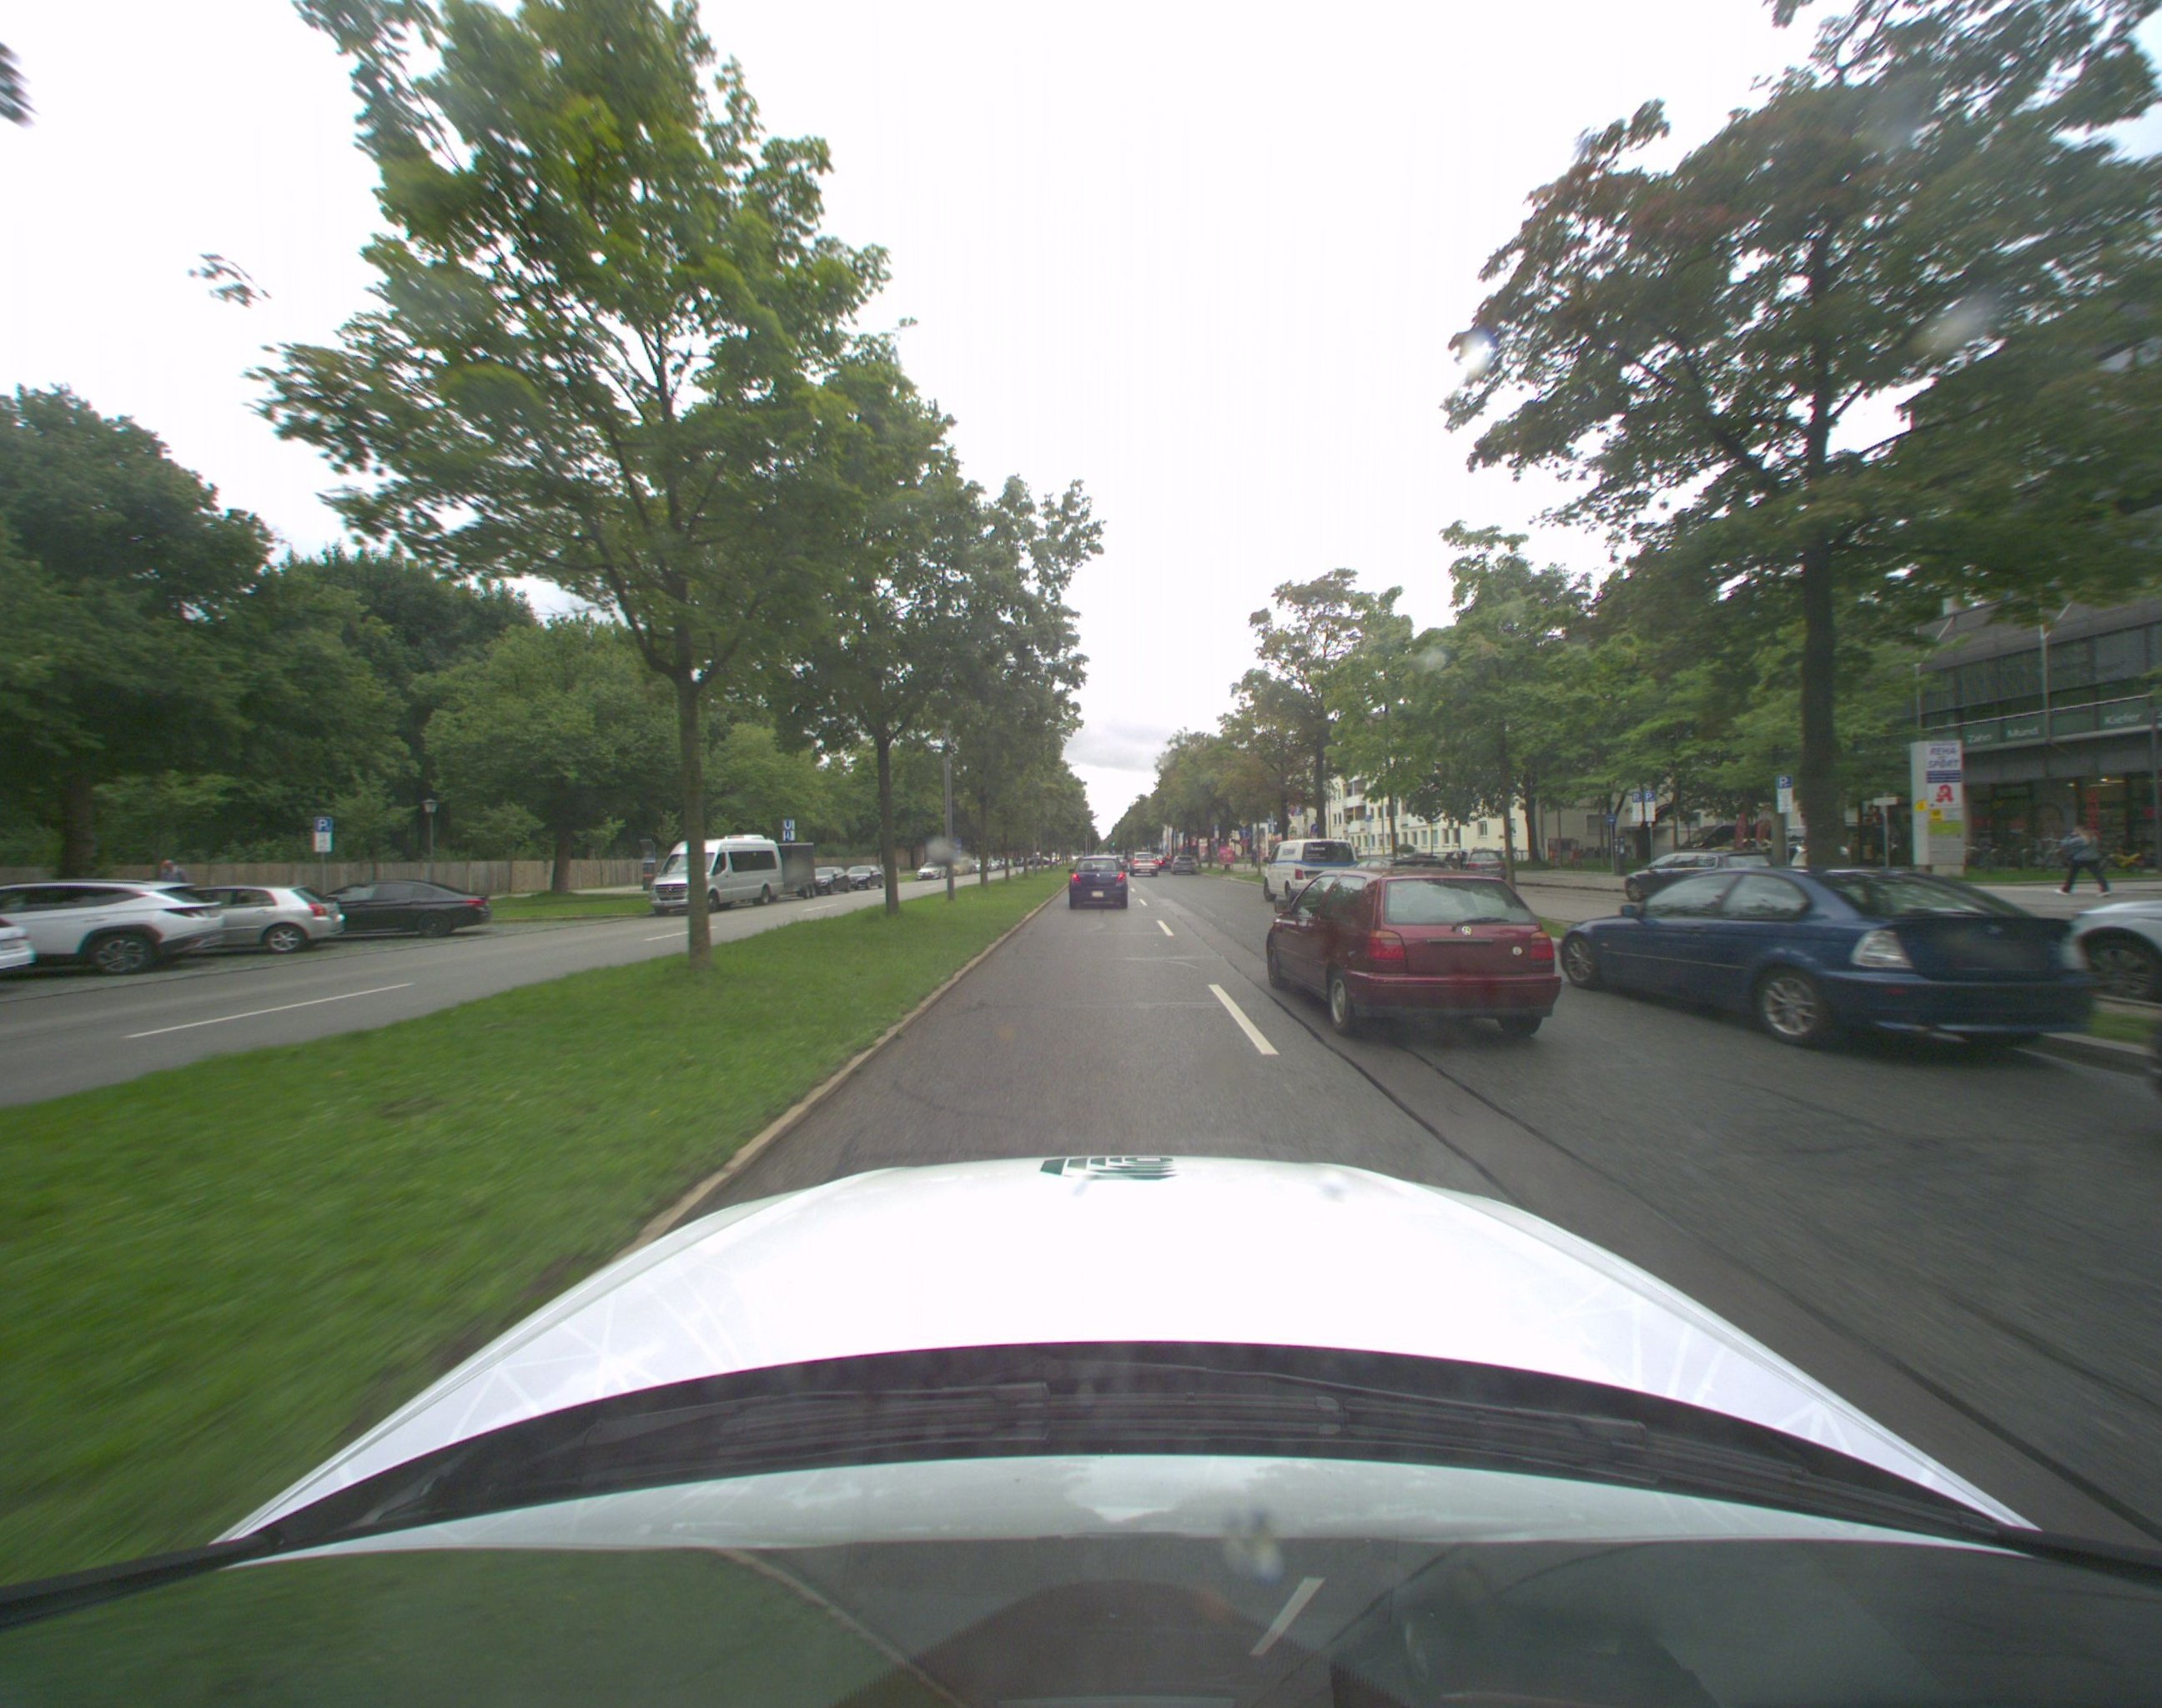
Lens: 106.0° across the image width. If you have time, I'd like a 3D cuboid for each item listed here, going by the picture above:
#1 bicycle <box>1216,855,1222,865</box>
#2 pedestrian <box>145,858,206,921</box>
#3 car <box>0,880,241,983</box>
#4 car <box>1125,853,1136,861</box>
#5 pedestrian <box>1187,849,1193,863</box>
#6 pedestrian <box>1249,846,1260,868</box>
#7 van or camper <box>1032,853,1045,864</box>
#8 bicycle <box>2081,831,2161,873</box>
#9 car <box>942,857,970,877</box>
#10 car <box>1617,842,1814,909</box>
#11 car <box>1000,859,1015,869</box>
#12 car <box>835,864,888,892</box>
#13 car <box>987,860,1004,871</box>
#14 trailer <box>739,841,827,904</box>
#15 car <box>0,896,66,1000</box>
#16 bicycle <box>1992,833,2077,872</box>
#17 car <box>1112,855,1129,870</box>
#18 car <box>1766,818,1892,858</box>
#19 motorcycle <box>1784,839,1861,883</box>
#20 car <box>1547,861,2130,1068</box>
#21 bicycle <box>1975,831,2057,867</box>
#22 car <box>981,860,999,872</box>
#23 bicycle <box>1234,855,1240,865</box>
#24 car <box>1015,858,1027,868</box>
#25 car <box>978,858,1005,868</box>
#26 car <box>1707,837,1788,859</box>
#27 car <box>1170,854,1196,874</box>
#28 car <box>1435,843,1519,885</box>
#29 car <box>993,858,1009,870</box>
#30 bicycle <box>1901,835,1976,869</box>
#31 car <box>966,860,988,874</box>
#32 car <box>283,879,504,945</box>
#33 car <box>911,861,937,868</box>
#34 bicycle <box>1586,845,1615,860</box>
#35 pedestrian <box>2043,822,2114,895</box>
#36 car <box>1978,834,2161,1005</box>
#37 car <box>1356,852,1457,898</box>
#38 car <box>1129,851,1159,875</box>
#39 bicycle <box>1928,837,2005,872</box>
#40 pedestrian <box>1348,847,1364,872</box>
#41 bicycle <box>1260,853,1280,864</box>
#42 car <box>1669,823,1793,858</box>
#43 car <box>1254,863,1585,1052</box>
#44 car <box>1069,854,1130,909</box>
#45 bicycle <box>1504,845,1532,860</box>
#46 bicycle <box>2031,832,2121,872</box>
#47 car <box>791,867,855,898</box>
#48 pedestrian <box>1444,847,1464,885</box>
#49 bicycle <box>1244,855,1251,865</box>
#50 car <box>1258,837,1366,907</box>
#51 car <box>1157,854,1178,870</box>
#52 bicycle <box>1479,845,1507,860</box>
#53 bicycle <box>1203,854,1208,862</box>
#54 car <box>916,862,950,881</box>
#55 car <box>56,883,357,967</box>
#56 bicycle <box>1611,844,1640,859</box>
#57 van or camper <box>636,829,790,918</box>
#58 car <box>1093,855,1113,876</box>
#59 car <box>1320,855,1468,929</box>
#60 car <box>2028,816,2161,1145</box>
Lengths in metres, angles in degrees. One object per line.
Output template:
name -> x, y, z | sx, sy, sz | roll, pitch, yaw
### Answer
bicycle -> 15.771, 0.683, 93.042 | 0.429, 1.133, 1.885 | -2, 0, 3
pedestrian -> -26.341, 1.027, 23.703 | 0.766, 1.767, 0.873 | -2, -1, -2
car -> -17.860, 1.316, 14.310 | 4.016, 1.623, 1.782 | 0, -1, -35
car -> 10.174, 0.581, 167.072 | 1.859, 1.682, 4.223 | -2, 0, 0
pedestrian -> 14.999, 0.223, 112.160 | 0.586, 1.890, 0.902 | -2, -1, 0
pedestrian -> 13.781, 0.266, 64.729 | 0.643, 1.730, 0.595 | 0, -1, -29
van or camper -> -9.486, 1.036, 182.466 | 2.108, 2.482, 7.453 | 0, -1, 2
bicycle -> 29.753, -0.062, 23.138 | 2.067, 1.120, 0.455 | -1, 0, 1
car -> -12.324, 1.253, 80.633 | 1.807, 1.783, 4.820 | -3, 0, 2
car -> 16.568, 0.505, 21.633 | 1.814, 1.531, 4.606 | -2, 0, 3
car -> -11.121, 1.539, 123.755 | 1.541, 1.409, 3.883 | -3, 0, 4
car -> -13.011, 1.396, 48.511 | 1.793, 1.425, 4.433 | -3, 0, 2
car -> -11.485, 1.523, 109.541 | 1.584, 1.397, 3.633 | -3, 0, 3
trailer -> -13.347, 0.795, 36.826 | 2.009, 2.590, 4.660 | -3, 0, 2
car -> -17.841, 1.391, 11.297 | 4.340, 1.438, 1.783 | 0, -1, -33
bicycle -> 29.527, -0.047, 25.227 | 2.067, 1.120, 0.455 | -1, 0, 1
car -> 4.114, 0.840, 84.995 | 1.676, 1.463, 3.735 | -1, 0, 2
car -> 43.365, -0.896, 47.265 | 6.098, 2.053, 2.335 | -2, 0, -13
motorcycle -> 22.331, 0.218, 24.575 | 0.470, 1.230, 1.948 | -4, -1, 1
car -> 6.339, 0.769, 7.595 | 1.676, 1.375, 4.081 | 0, 0, 0
bicycle -> 30.223, -0.163, 26.332 | 2.067, 1.120, 0.455 | -1, 0, 1
car -> -11.605, 1.499, 104.481 | 1.601, 1.444, 4.280 | -3, 0, 2
bicycle -> 17.160, 0.668, 89.645 | 0.429, 1.028, 1.885 | -2, 0, 3
car -> -10.441, 1.507, 140.856 | 1.710, 1.741, 3.879 | 0, -1, 1
car -> -14.033, 1.344, 127.276 | 4.114, 1.468, 1.837 | -1, 0, -5
car -> 40.688, -0.389, 49.770 | 3.728, 1.201, 1.584 | -2, 1, -2
car -> 7.872, 0.741, 62.828 | 1.675, 1.465, 4.117 | 0, 0, 3
car -> 17.228, 0.417, 35.636 | 1.814, 1.634, 4.202 | -2, 0, 4
car -> -11.359, 1.445, 115.329 | 1.685, 1.586, 4.371 | -3, 0, 1
bicycle -> 29.665, -0.075, 28.185 | 2.067, 1.120, 0.455 | -1, 0, 1
car -> -11.930, 1.416, 93.360 | 1.756, 1.449, 4.533 | -3, 0, 1
car -> -17.349, 1.410, 20.821 | 4.010, 1.434, 1.785 | 0, -1, -29
car -> -26.924, 1.822, 139.535 | 4.363, 1.201, 1.683 | -1, -1, 33
bicycle -> 35.338, -0.121, 55.357 | 1.687, 0.971, 0.455 | -2, 0, -3
pedestrian -> 21.770, 0.102, 17.782 | 0.656, 1.542, 0.632 | -4, -1, 1
car -> 10.437, 0.585, 6.808 | 1.645, 1.519, 3.877 | 0, 0, 0
car -> 11.005, 0.664, 27.896 | 1.721, 1.432, 4.692 | 0, 0, 1
car -> 4.425, 0.626, 57.755 | 1.859, 1.661, 4.407 | 0, 0, 0
bicycle -> 29.797, 0.022, 27.408 | 2.067, 1.120, 0.455 | -1, 0, 1
pedestrian -> 18.036, 0.368, 53.400 | 0.582, 1.574, 0.773 | 0, -1, -31
bicycle -> 18.792, 0.446, 81.049 | 1.872, 1.028, 0.432 | -2, -1, -2
car -> 42.024, -0.858, 52.756 | 6.069, 1.999, 2.346 | -2, 0, 1
car -> 2.938, 0.791, 8.027 | 1.676, 1.384, 3.919 | 0, 0, 0
car -> 0.535, 0.763, 24.433 | 1.676, 1.502, 3.919 | -1, 0, 0
bicycle -> 30.324, -0.127, 56.563 | 1.687, 0.971, 0.455 | -2, 0, -3
bicycle -> 29.728, -0.051, 24.344 | 2.067, 1.120, 0.455 | -1, 0, 1
car -> -13.364, 1.429, 42.460 | 1.793, 1.384, 4.240 | -3, 0, 2
pedestrian -> 15.699, 0.493, 34.267 | 0.651, 1.594, 0.758 | -2, 0, 20
bicycle -> 18.315, 0.642, 89.386 | 0.429, 1.101, 1.885 | -2, 0, 3
car -> 6.857, 0.487, 24.764 | 1.875, 1.927, 4.931 | 0, 0, -1
car -> 8.110, 0.775, 76.532 | 1.743, 1.465, 4.179 | 0, 0, 3
bicycle -> 28.548, -0.108, 56.447 | 1.687, 0.971, 0.455 | -2, 0, -3
bicycle -> 16.966, 0.586, 110.806 | 0.387, 1.105, 1.854 | 0, -1, 2
car -> -12.647, 1.467, 69.796 | 1.850, 1.472, 4.876 | -3, 0, 1
car -> -18.093, 1.403, 17.181 | 4.017, 1.466, 1.782 | 0, -1, -35
bicycle -> 37.104, -0.190, 55.457 | 1.687, 0.971, 0.455 | -2, 0, -3
van or camper -> -13.552, 0.645, 30.773 | 2.027, 2.837, 7.549 | -3, 0, 2
car -> 1.606, 0.856, 60.579 | 1.439, 1.483, 3.106 | -1, 0, 0
car -> 6.715, 0.752, 17.954 | 1.691, 1.448, 4.041 | 0, 0, -1
car -> 6.199, 0.651, 2.407 | 1.676, 1.641, 4.466 | 2, 0, 1
